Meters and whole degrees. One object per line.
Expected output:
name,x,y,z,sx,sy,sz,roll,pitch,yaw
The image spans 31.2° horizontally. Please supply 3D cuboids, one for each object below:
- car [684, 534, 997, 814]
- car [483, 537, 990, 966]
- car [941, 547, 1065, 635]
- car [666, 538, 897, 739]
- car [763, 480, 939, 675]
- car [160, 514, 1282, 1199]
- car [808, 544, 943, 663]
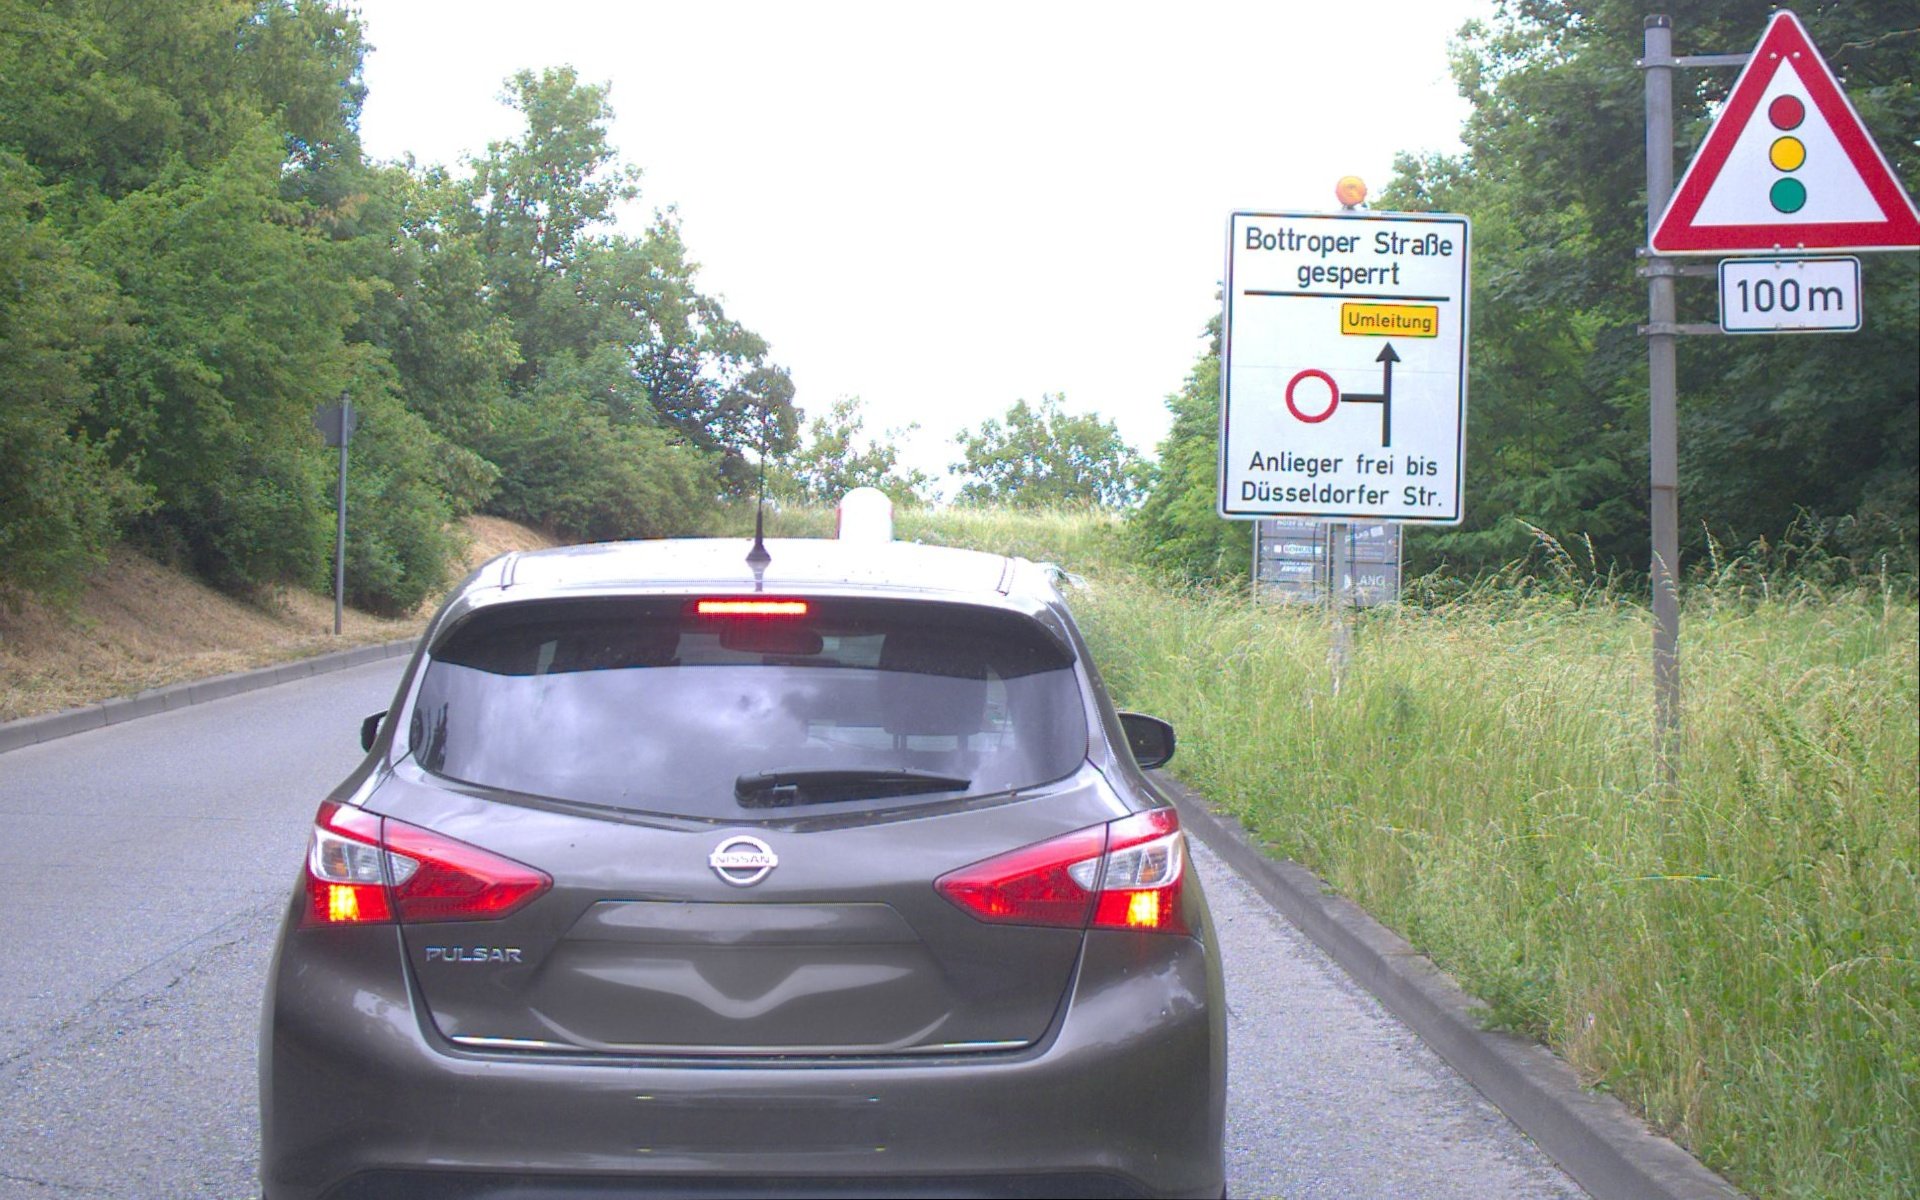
car,-0.672,0.380,20.887,1.736,1.551,3.544,0,1,0
car,-0.819,0.518,14.299,1.830,1.551,3.625,0,1,0
car,0.800,-0.179,61.484,1.736,1.521,3.640,0,1,8
car,-1.421,0.269,28.485,1.736,1.551,3.544,0,1,0
car,-1.139,-0.256,35.768,1.736,1.928,3.544,0,1,-2
car,-0.456,0.608,7.389,1.830,1.551,3.500,0,1,-2
car,-1.133,0.011,46.205,1.736,1.521,3.544,0,1,-1
